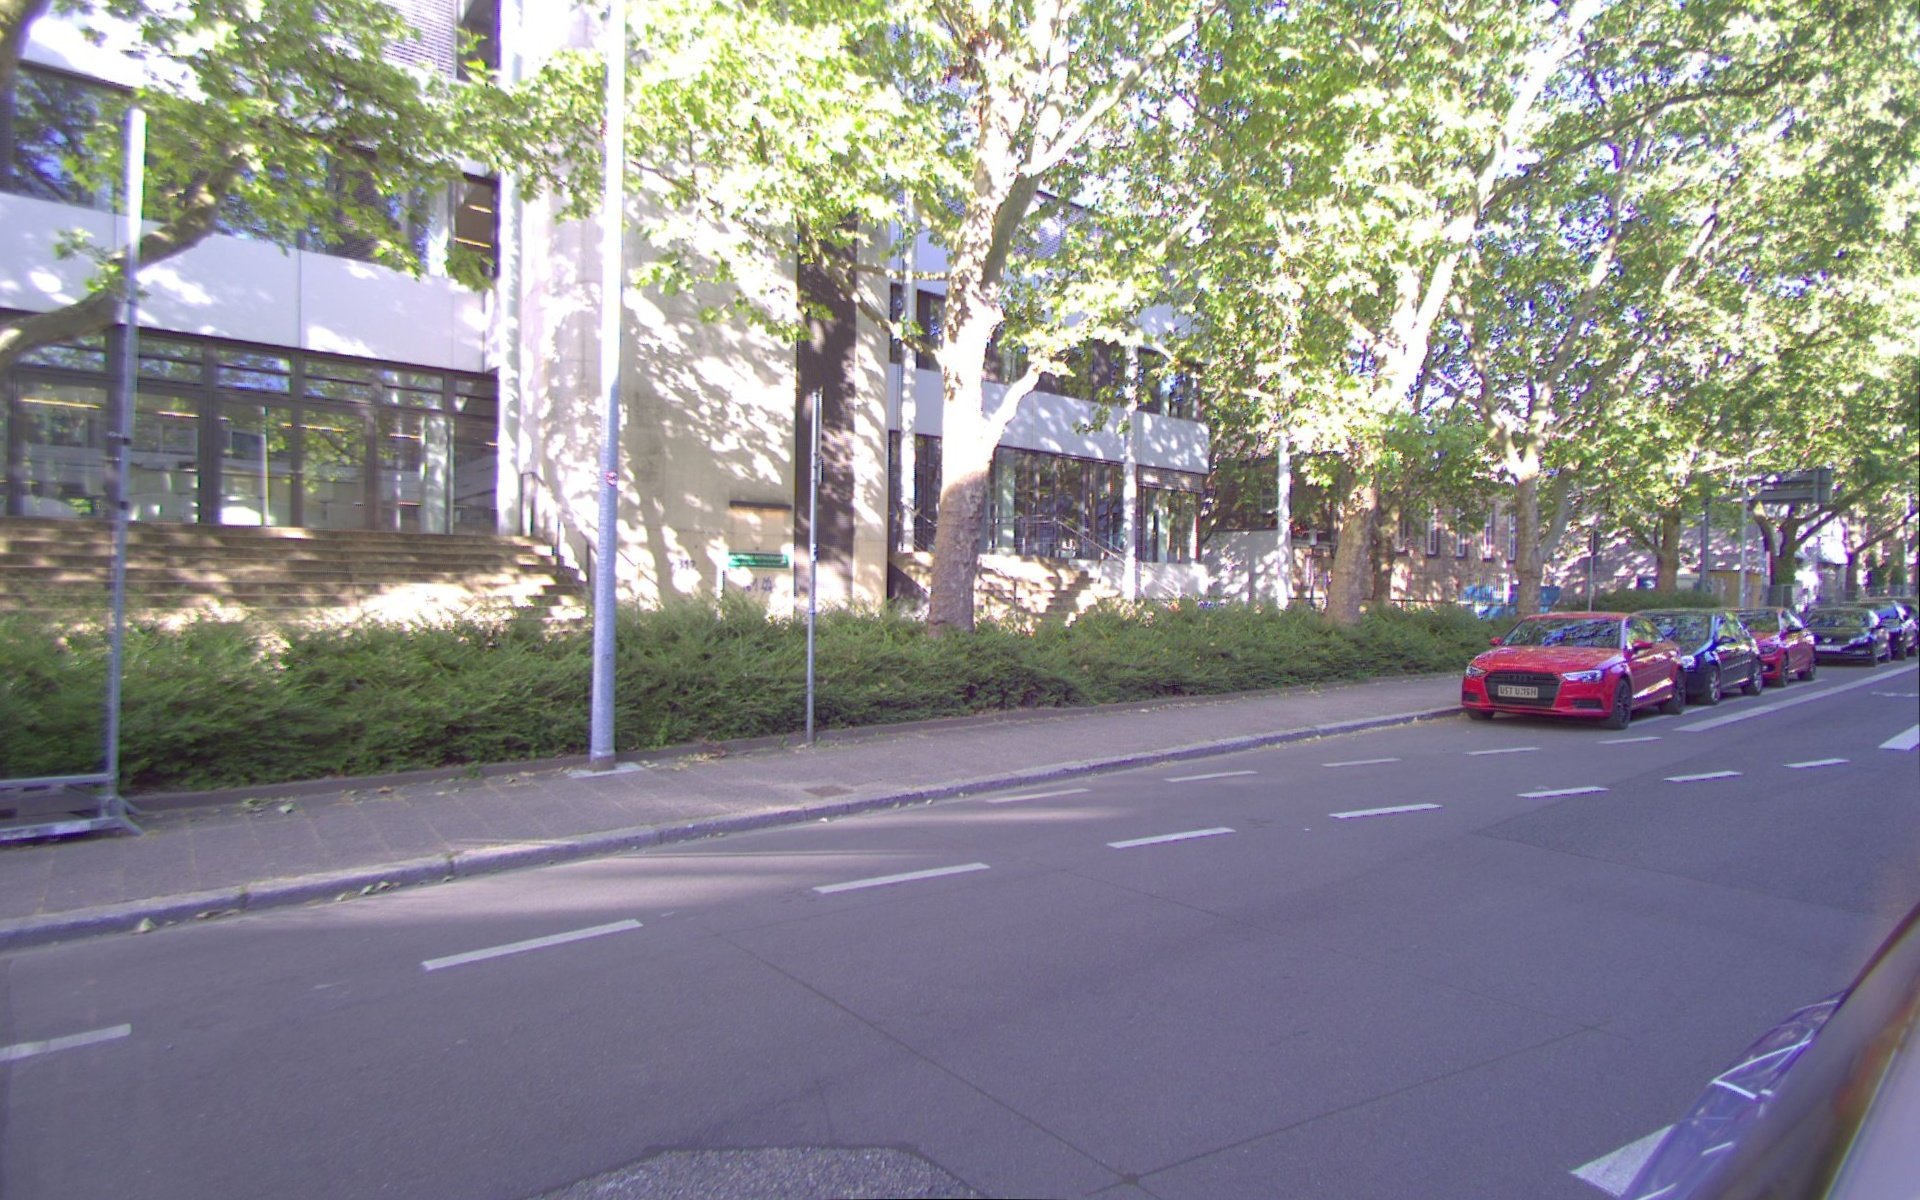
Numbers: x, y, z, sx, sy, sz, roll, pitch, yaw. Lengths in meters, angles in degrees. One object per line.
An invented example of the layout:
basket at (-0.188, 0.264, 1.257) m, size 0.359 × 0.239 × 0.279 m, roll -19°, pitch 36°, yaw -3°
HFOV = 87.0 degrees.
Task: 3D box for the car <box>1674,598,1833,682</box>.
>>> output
car at (15.705, 0.726, 19.964) m, size 3.841 × 1.486 × 1.753 m, roll 0°, pitch -1°, yaw -41°

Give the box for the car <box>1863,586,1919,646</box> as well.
car at (30.974, 0.494, 32.966) m, size 4.370 × 1.844 × 1.753 m, roll 0°, pitch -1°, yaw -41°

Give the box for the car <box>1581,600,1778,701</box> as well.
car at (11.853, 0.744, 16.588) m, size 3.841 × 1.451 × 1.753 m, roll 0°, pitch -1°, yaw -41°

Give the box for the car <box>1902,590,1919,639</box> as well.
car at (36.198, 0.525, 37.262) m, size 4.370 × 1.750 × 1.753 m, roll 0°, pitch -1°, yaw -41°

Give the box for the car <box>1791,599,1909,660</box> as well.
car at (22.950, 0.723, 26.063) m, size 3.841 × 1.451 × 1.753 m, roll 0°, pitch -1°, yaw -41°

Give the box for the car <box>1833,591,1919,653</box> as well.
car at (26.717, 0.593, 29.175) m, size 4.101 × 1.674 × 1.753 m, roll 0°, pitch -1°, yaw -41°

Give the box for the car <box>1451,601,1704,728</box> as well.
car at (8.277, 0.745, 13.443) m, size 3.930 × 1.427 × 1.753 m, roll 0°, pitch -1°, yaw -41°
